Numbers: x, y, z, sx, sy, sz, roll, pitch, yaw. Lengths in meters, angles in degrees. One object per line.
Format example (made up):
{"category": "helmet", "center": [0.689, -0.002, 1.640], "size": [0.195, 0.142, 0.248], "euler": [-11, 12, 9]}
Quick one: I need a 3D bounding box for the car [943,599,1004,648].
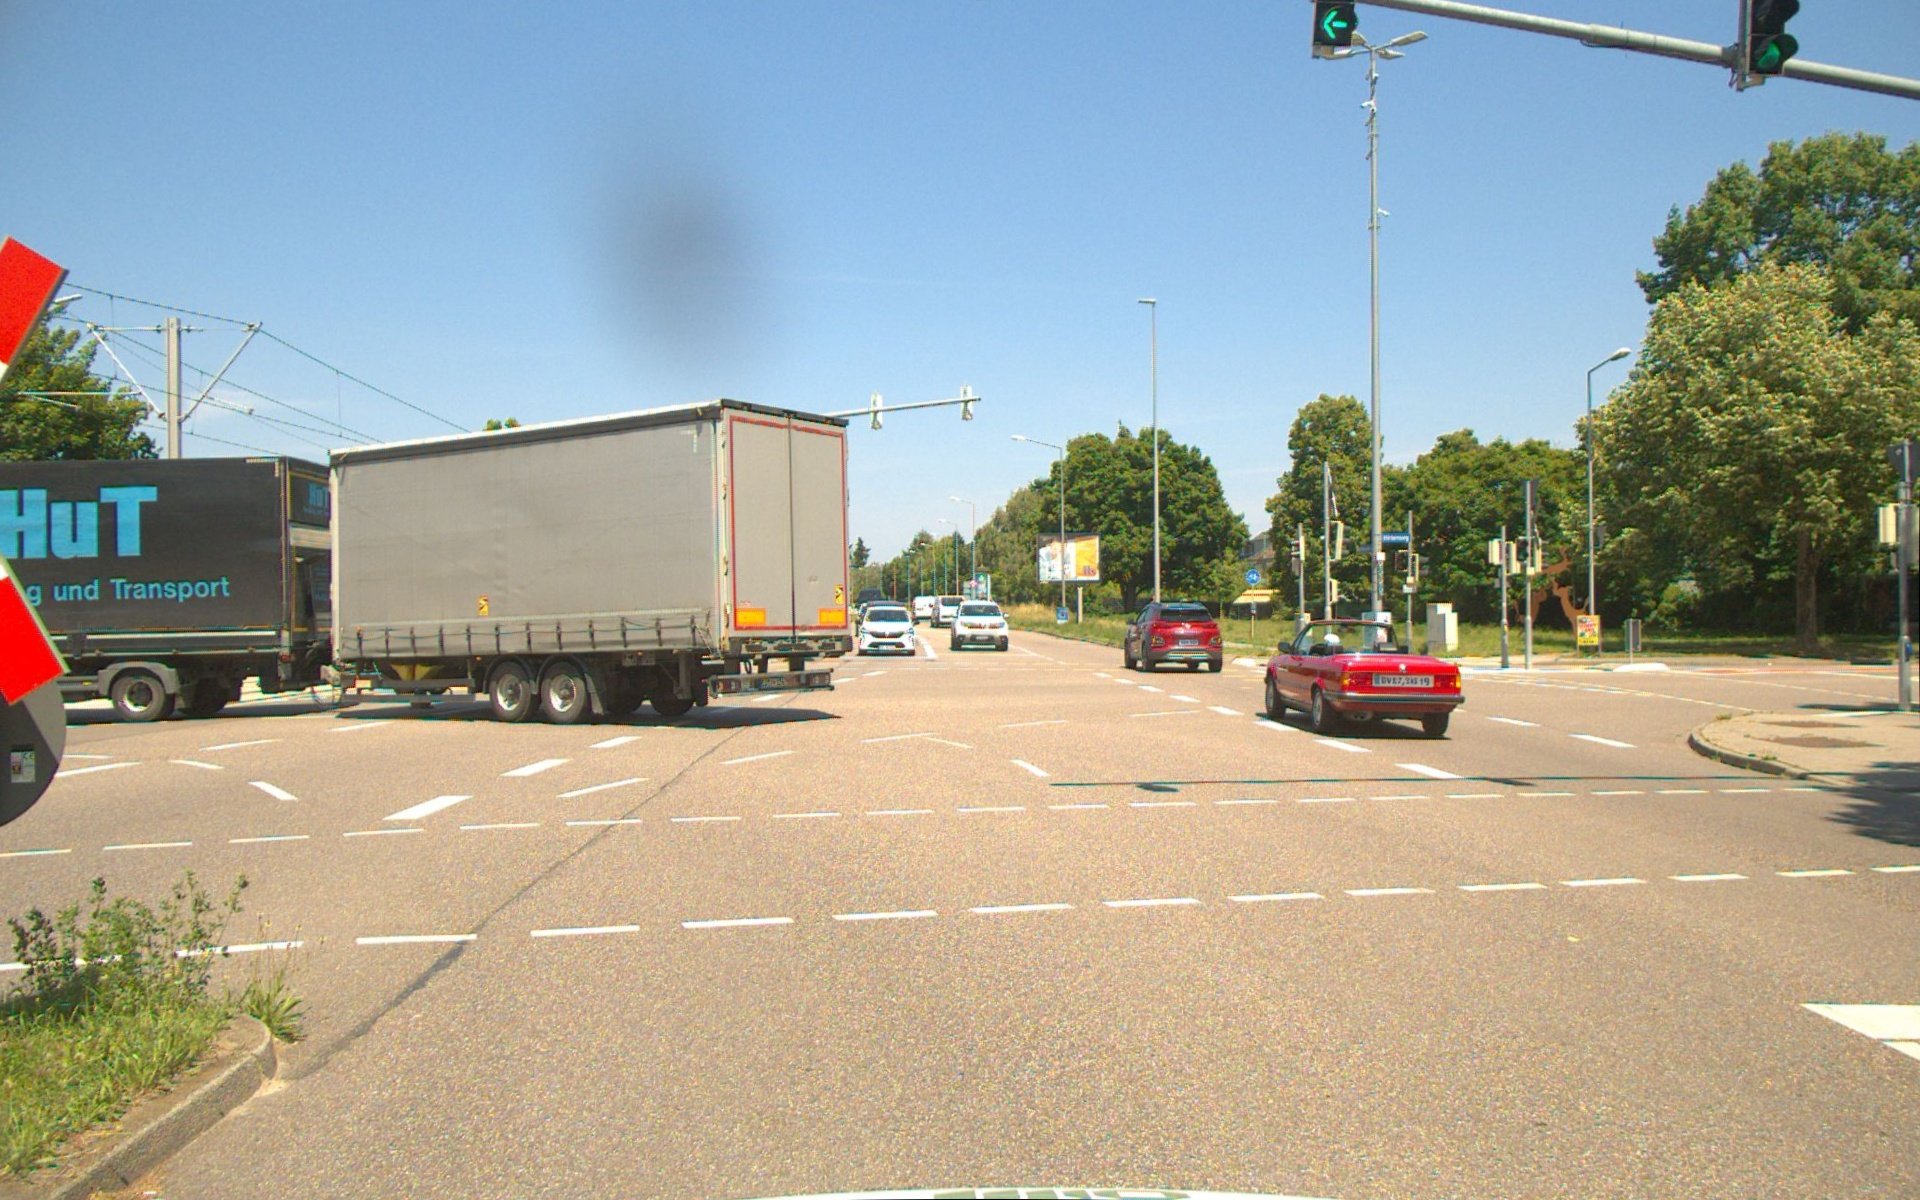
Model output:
{"category": "car", "center": [0.425, 0.769, 55.839], "size": [1.821, 1.570, 4.154], "euler": [1, 0, -3]}

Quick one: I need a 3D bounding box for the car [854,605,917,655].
{"category": "car", "center": [-2.265, 0.870, 50.120], "size": [1.821, 1.397, 4.154], "euler": [1, 0, -3]}

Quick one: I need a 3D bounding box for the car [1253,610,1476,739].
{"category": "car", "center": [5.059, 0.875, 21.240], "size": [1.622, 1.421, 4.265], "euler": [1, 0, -3]}

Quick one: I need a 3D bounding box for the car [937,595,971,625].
{"category": "car", "center": [-0.385, 0.594, 100.021], "size": [1.821, 1.721, 4.154], "euler": [1, 0, -3]}

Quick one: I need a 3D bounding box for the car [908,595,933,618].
{"category": "car", "center": [-3.039, 0.504, 126.325], "size": [1.821, 1.721, 4.154], "euler": [1, 0, -3]}

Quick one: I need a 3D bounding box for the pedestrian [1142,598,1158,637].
{"category": "pedestrian", "center": [10.022, 0.921, 87.395], "size": [0.727, 2.049, 0.613], "euler": [1, 0, -1]}

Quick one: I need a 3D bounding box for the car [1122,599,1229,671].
{"category": "car", "center": [4.995, 0.784, 38.789], "size": [1.821, 1.576, 3.885], "euler": [1, 0, -3]}

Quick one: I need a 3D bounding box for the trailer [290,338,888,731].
{"category": "trailer", "center": [-5.242, -0.674, 22.453], "size": [8.567, 4.499, 2.827], "euler": [-1, -2, 34]}

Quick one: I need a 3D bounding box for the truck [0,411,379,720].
{"category": "truck", "center": [-13.451, -0.455, 25.327], "size": [8.087, 4.421, 2.836], "euler": [-1, -2, 0]}
